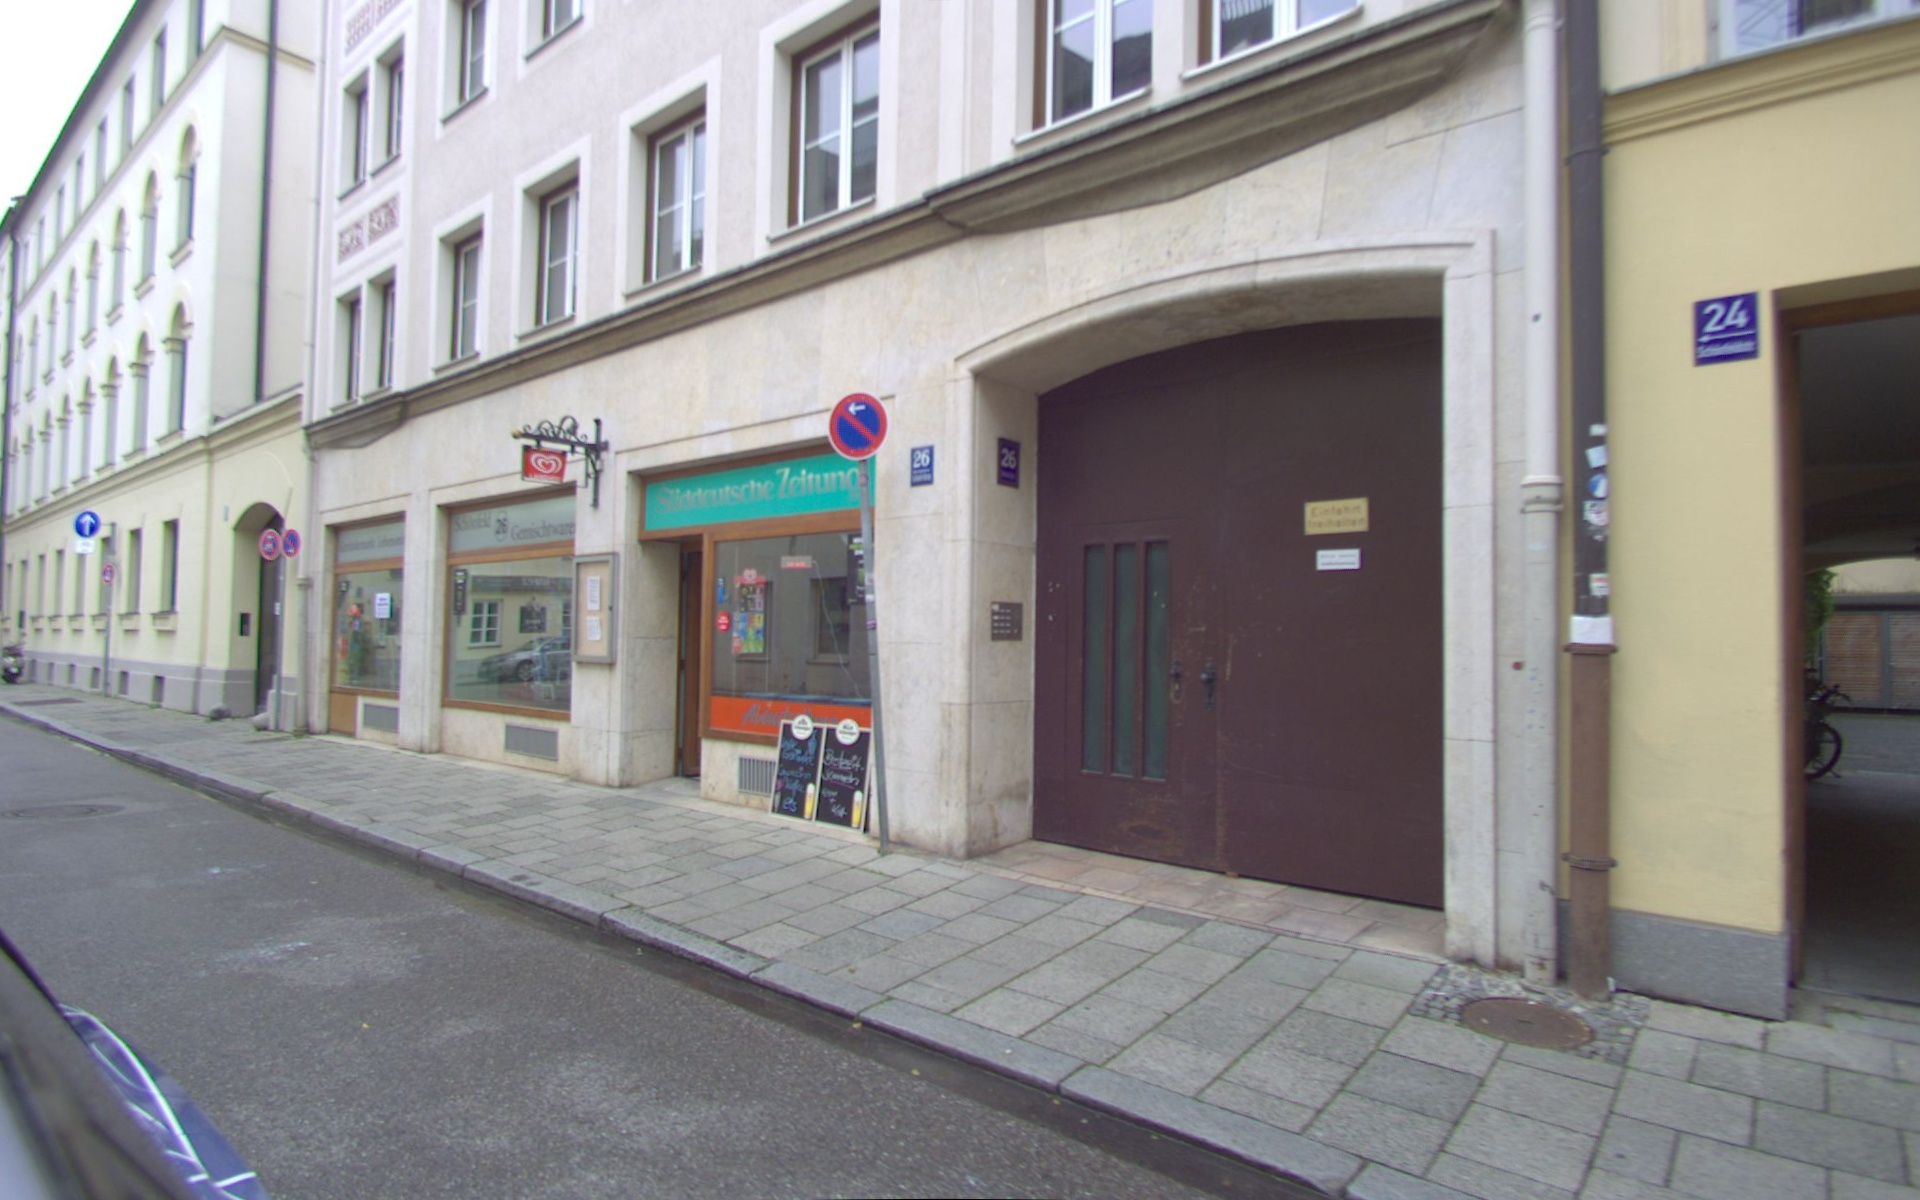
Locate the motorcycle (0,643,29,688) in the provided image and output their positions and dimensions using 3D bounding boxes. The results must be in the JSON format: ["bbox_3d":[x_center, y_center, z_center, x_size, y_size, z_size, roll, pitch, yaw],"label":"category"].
[{"bbox_3d":[-25.857,1.762,27.502,1.707,1.183,0.596,-2,-3,41],"label":"motorcycle"}]
